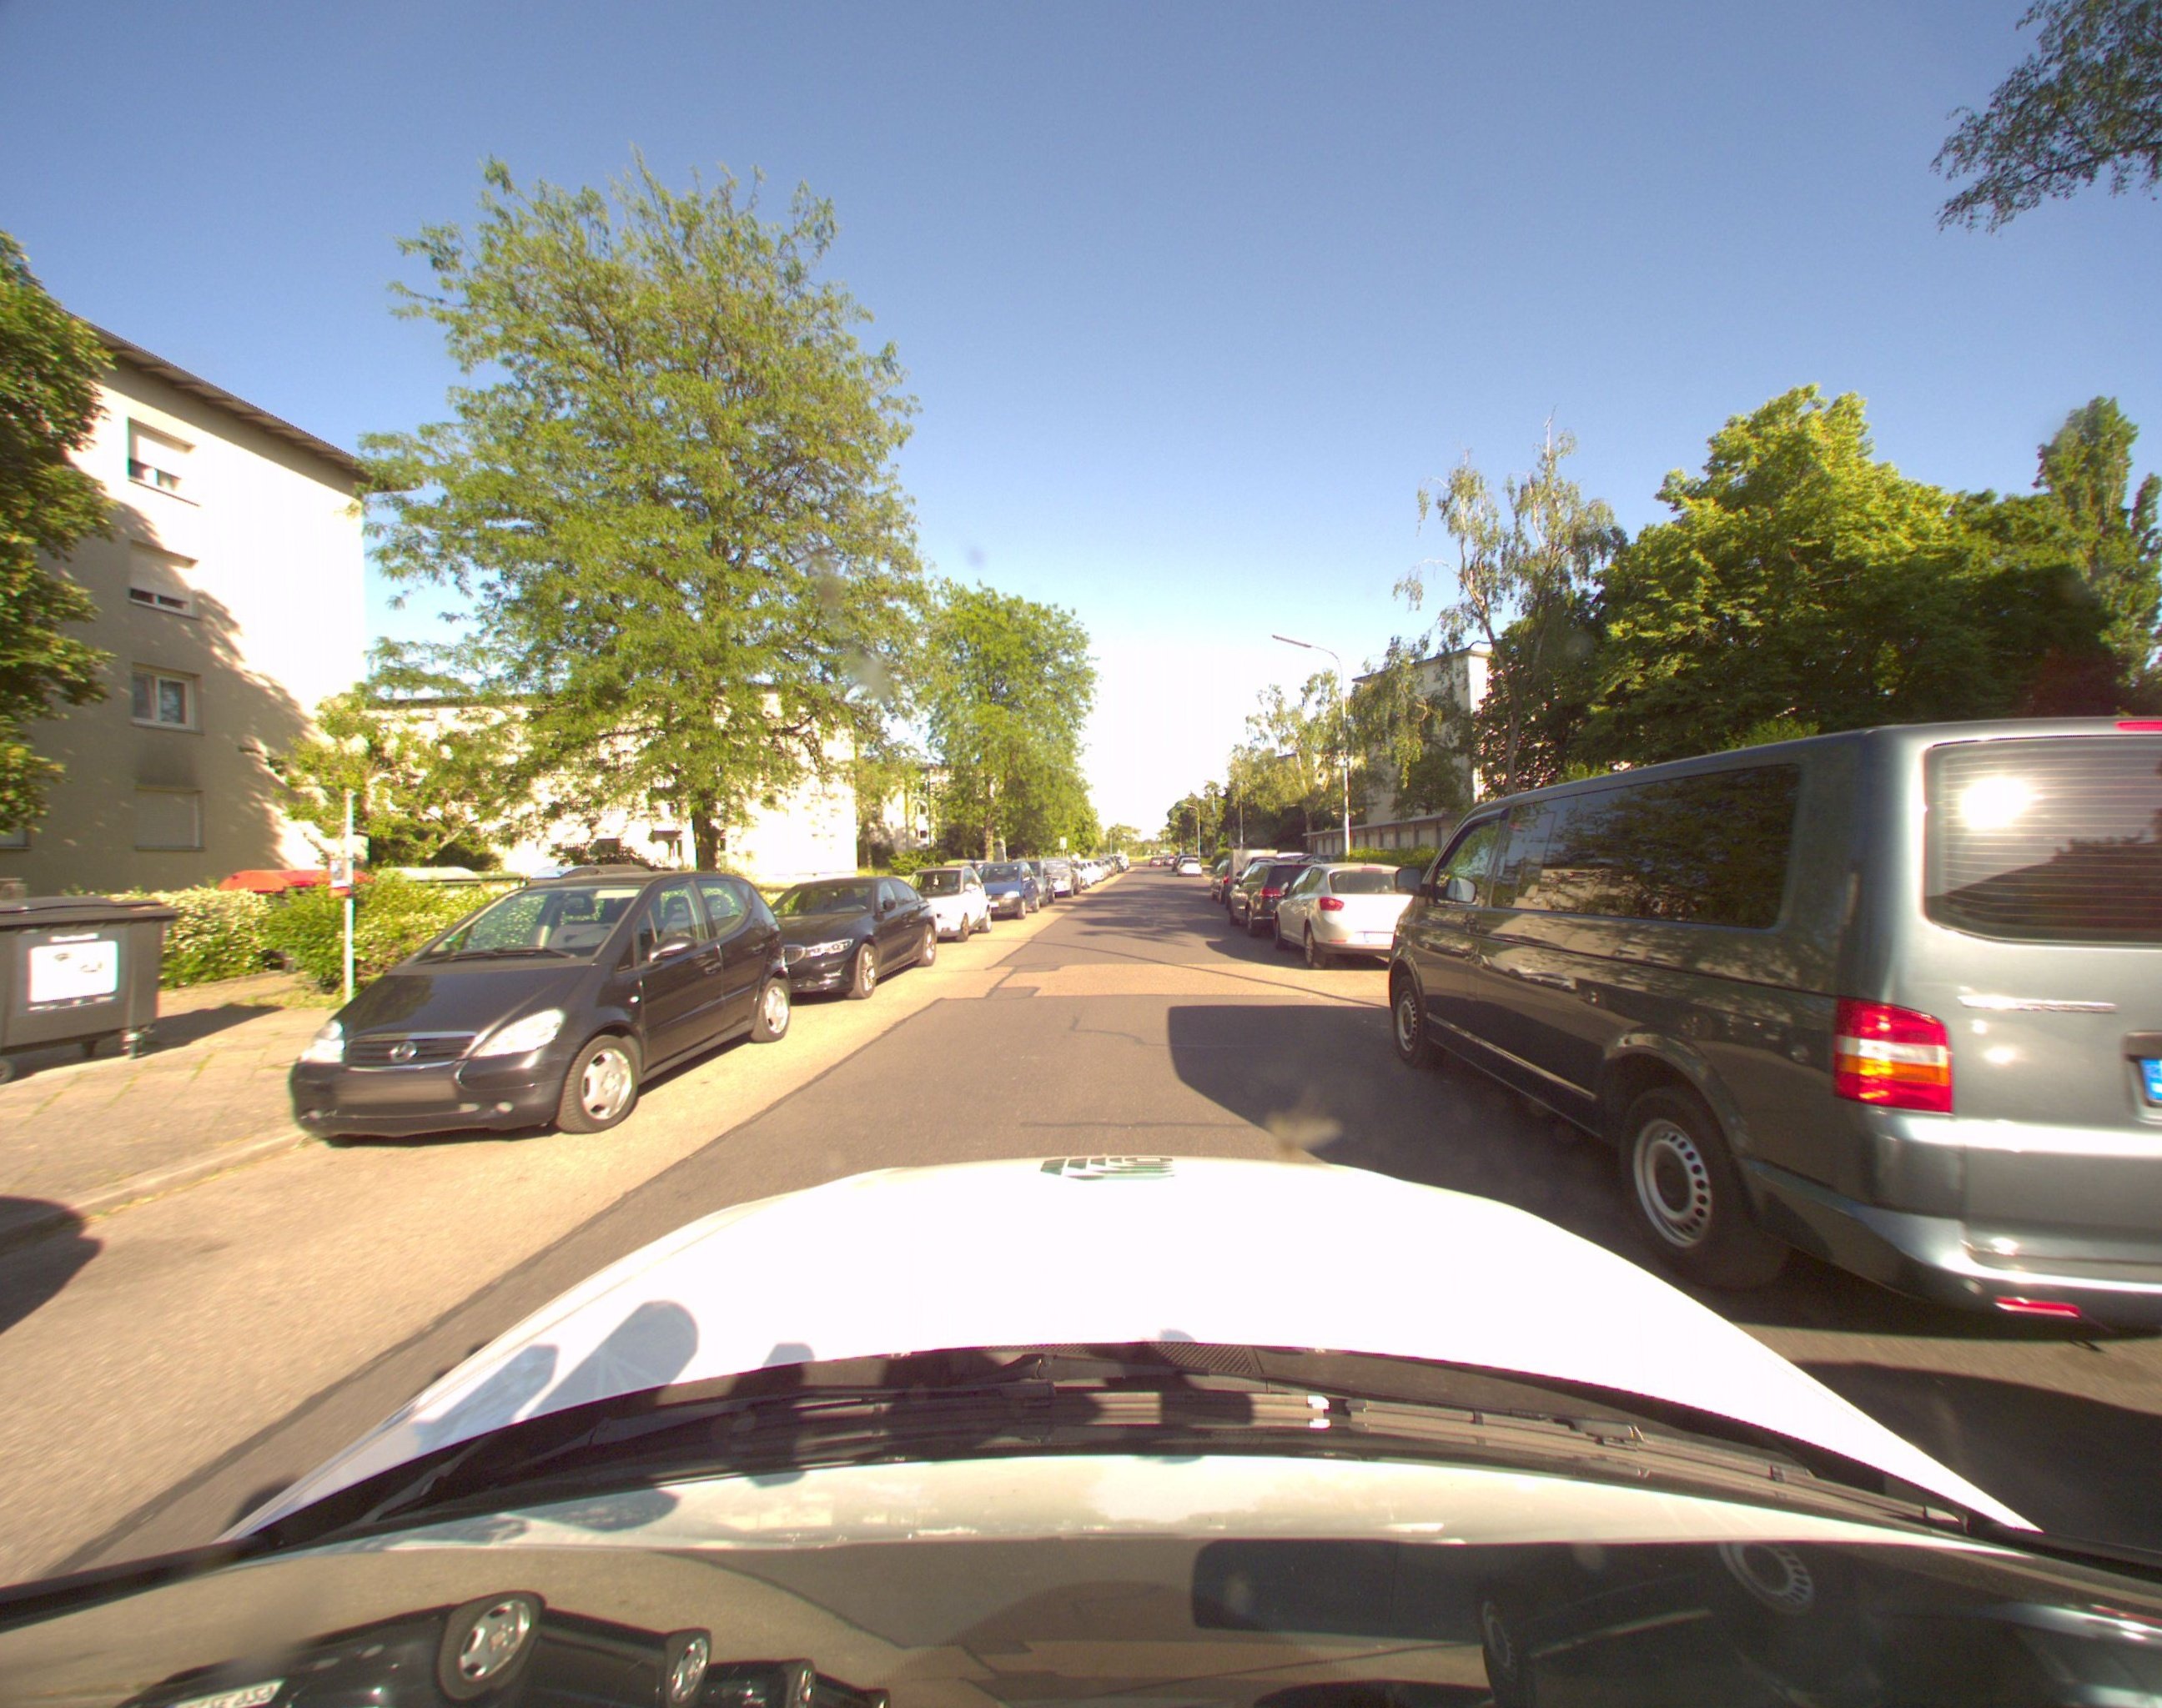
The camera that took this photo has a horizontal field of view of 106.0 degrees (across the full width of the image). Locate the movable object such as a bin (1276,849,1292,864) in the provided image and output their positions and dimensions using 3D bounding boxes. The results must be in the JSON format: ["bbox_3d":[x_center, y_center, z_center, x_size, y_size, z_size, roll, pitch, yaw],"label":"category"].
[{"bbox_3d":[19.592,0.249,78.535,1.249,1.353,1.280,-1,0,4],"label":"movable object such as a bin"}]

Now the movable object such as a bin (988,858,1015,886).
[{"bbox_3d":[-4.123,0.924,42.382,1.130,1.382,1.444,1,0,6],"label":"movable object such as a bin"}]

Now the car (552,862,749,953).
[{"bbox_3d":[-8.224,0.943,16.008,1.564,1.525,4.003,-1,0,3],"label":"car"}]

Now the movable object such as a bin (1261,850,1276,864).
[{"bbox_3d":[18.069,0.258,78.605,1.249,1.353,1.280,-1,0,4],"label":"movable object such as a bin"}]

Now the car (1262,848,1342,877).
[{"bbox_3d":[13.253,0.503,49.022,4.394,1.513,1.831,-2,0,5],"label":"car"}]

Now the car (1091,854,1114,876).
[{"bbox_3d":[1.782,0.896,67.204,1.702,1.600,3.989,-4,0,3],"label":"car"}]

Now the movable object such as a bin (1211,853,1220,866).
[{"bbox_3d":[14.713,0.611,89.209,0.913,1.454,1.234,-2,0,5],"label":"movable object such as a bin"}]

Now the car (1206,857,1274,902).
[{"bbox_3d":[5.357,0.812,27.803,1.725,1.403,3.897,0,0,2],"label":"car"}]

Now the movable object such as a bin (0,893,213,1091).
[{"bbox_3d":[-8.168,1.015,6.427,1.171,1.340,1.345,-1,0,6],"label":"movable object such as a bin"}]

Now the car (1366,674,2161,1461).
[{"bbox_3d":[3.105,0.523,4.337,1.844,1.934,4.710,0,0,4],"label":"car"}]

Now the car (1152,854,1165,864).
[{"bbox_3d":[11.173,0.702,117.721,1.673,1.513,4.107,0,0,2],"label":"car"}]

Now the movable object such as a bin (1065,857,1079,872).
[{"bbox_3d":[-0.864,0.996,78.653,1.096,1.420,1.363,1,0,5],"label":"movable object such as a bin"}]

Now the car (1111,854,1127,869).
[{"bbox_3d":[4.451,0.907,96.427,1.740,1.669,4.380,-3,0,2],"label":"car"}]

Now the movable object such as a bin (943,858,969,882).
[{"bbox_3d":[-7.752,0.965,50.511,1.171,1.420,1.465,1,0,7],"label":"movable object such as a bin"}]

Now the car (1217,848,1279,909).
[{"bbox_3d":[4.875,0.685,23.990,1.482,1.718,2.586,0,0,4],"label":"car"}]

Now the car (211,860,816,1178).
[{"bbox_3d":[-3.634,0.893,6.181,1.747,1.574,3.723,-4,0,3],"label":"car"}]

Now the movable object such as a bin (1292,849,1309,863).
[{"bbox_3d":[21.159,0.193,78.549,1.252,1.353,1.277,-1,0,-4],"label":"movable object such as a bin"}]

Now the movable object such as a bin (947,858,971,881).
[{"bbox_3d":[-7.794,0.959,52.116,1.171,1.420,1.465,1,0,7],"label":"movable object such as a bin"}]

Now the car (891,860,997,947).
[{"bbox_3d":[-2.837,0.975,17.429,1.438,1.574,3.145,-4,0,4],"label":"car"}]

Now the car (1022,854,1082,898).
[{"bbox_3d":[-1.133,0.850,33.578,1.894,1.640,4.354,-3,0,5],"label":"car"}]

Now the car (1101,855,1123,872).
[{"bbox_3d":[3.148,0.960,82.018,1.737,1.533,4.147,-3,0,7],"label":"car"}]

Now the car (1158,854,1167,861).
[{"bbox_3d":[18.024,0.784,179.852,1.788,1.548,3.954,-1,0,2],"label":"car"}]

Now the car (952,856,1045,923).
[{"bbox_3d":[-2.222,0.924,23.029,1.745,1.606,3.975,-4,0,6],"label":"car"}]

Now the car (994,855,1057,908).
[{"bbox_3d":[-1.832,0.890,27.934,1.628,1.606,3.538,-3,0,4],"label":"car"}]

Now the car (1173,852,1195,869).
[{"bbox_3d":[9.944,0.623,78.593,1.899,1.639,4.634,-1,0,5],"label":"car"}]

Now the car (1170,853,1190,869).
[{"bbox_3d":[10.231,0.724,84.445,1.899,1.531,4.333,-1,0,5],"label":"car"}]

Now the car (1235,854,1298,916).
[{"bbox_3d":[4.795,0.766,21.278,1.407,1.523,2.564,0,0,8],"label":"car"}]

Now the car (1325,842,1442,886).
[{"bbox_3d":[11.900,0.398,32.226,3.928,1.513,1.829,-2,0,1],"label":"car"}]

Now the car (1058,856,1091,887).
[{"bbox_3d":[-0.363,0.919,43.997,1.658,1.513,3.536,-3,0,-1],"label":"car"}]

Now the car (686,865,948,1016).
[{"bbox_3d":[-3.246,0.975,11.102,1.746,1.481,4.542,-4,0,4],"label":"car"}]

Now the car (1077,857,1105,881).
[{"bbox_3d":[0.736,0.986,56.099,1.679,1.505,3.821,-2,0,3],"label":"car"}]

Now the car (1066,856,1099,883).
[{"bbox_3d":[0.143,0.939,50.453,1.679,1.535,3.895,-3,0,4],"label":"car"}]

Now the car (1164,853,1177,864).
[{"bbox_3d":[13.687,0.712,124.528,1.788,1.561,3.954,-1,0,2],"label":"car"}]

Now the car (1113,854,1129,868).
[{"bbox_3d":[4.990,0.865,101.969,1.738,1.732,4.011,-3,0,5],"label":"car"}]

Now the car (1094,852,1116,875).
[{"bbox_3d":[2.182,0.812,73.033,1.846,1.892,4.422,-3,0,3],"label":"car"}]

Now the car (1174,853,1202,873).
[{"bbox_3d":[8.184,0.652,62.569,1.746,1.513,4.107,0,0,2],"label":"car"}]

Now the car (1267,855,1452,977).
[{"bbox_3d":[3.869,0.755,12.003,1.615,1.490,4.040,0,0,4],"label":"car"}]

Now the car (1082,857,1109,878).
[{"bbox_3d":[1.102,0.987,61.644,1.679,1.465,4.531,-4,0,4],"label":"car"}]

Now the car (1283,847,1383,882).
[{"bbox_3d":[12.547,0.524,40.829,4.491,1.513,1.832,-2,0,6],"label":"car"}]

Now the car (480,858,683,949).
[{"bbox_3d":[-10.098,0.918,16.858,1.564,1.641,4.003,-1,0,3],"label":"car"}]

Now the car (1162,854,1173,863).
[{"bbox_3d":[15.308,0.782,144.546,1.788,1.643,3.954,-1,0,2],"label":"car"}]

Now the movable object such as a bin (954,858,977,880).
[{"bbox_3d":[-7.598,0.969,53.627,1.171,1.420,1.465,1,0,7],"label":"movable object such as a bin"}]

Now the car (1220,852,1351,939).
[{"bbox_3d":[4.073,0.752,16.937,1.725,1.490,4.504,-2,0,2],"label":"car"}]

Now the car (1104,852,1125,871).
[{"bbox_3d":[3.640,0.767,88.113,1.906,1.962,5.095,-3,0,5],"label":"car"}]

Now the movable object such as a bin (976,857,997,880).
[{"bbox_3d":[-6.269,0.958,54.078,1.128,1.420,1.363,1,0,6],"label":"movable object such as a bin"}]

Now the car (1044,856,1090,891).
[{"bbox_3d":[-0.629,0.900,39.323,1.654,1.513,3.952,-3,0,6],"label":"car"}]
